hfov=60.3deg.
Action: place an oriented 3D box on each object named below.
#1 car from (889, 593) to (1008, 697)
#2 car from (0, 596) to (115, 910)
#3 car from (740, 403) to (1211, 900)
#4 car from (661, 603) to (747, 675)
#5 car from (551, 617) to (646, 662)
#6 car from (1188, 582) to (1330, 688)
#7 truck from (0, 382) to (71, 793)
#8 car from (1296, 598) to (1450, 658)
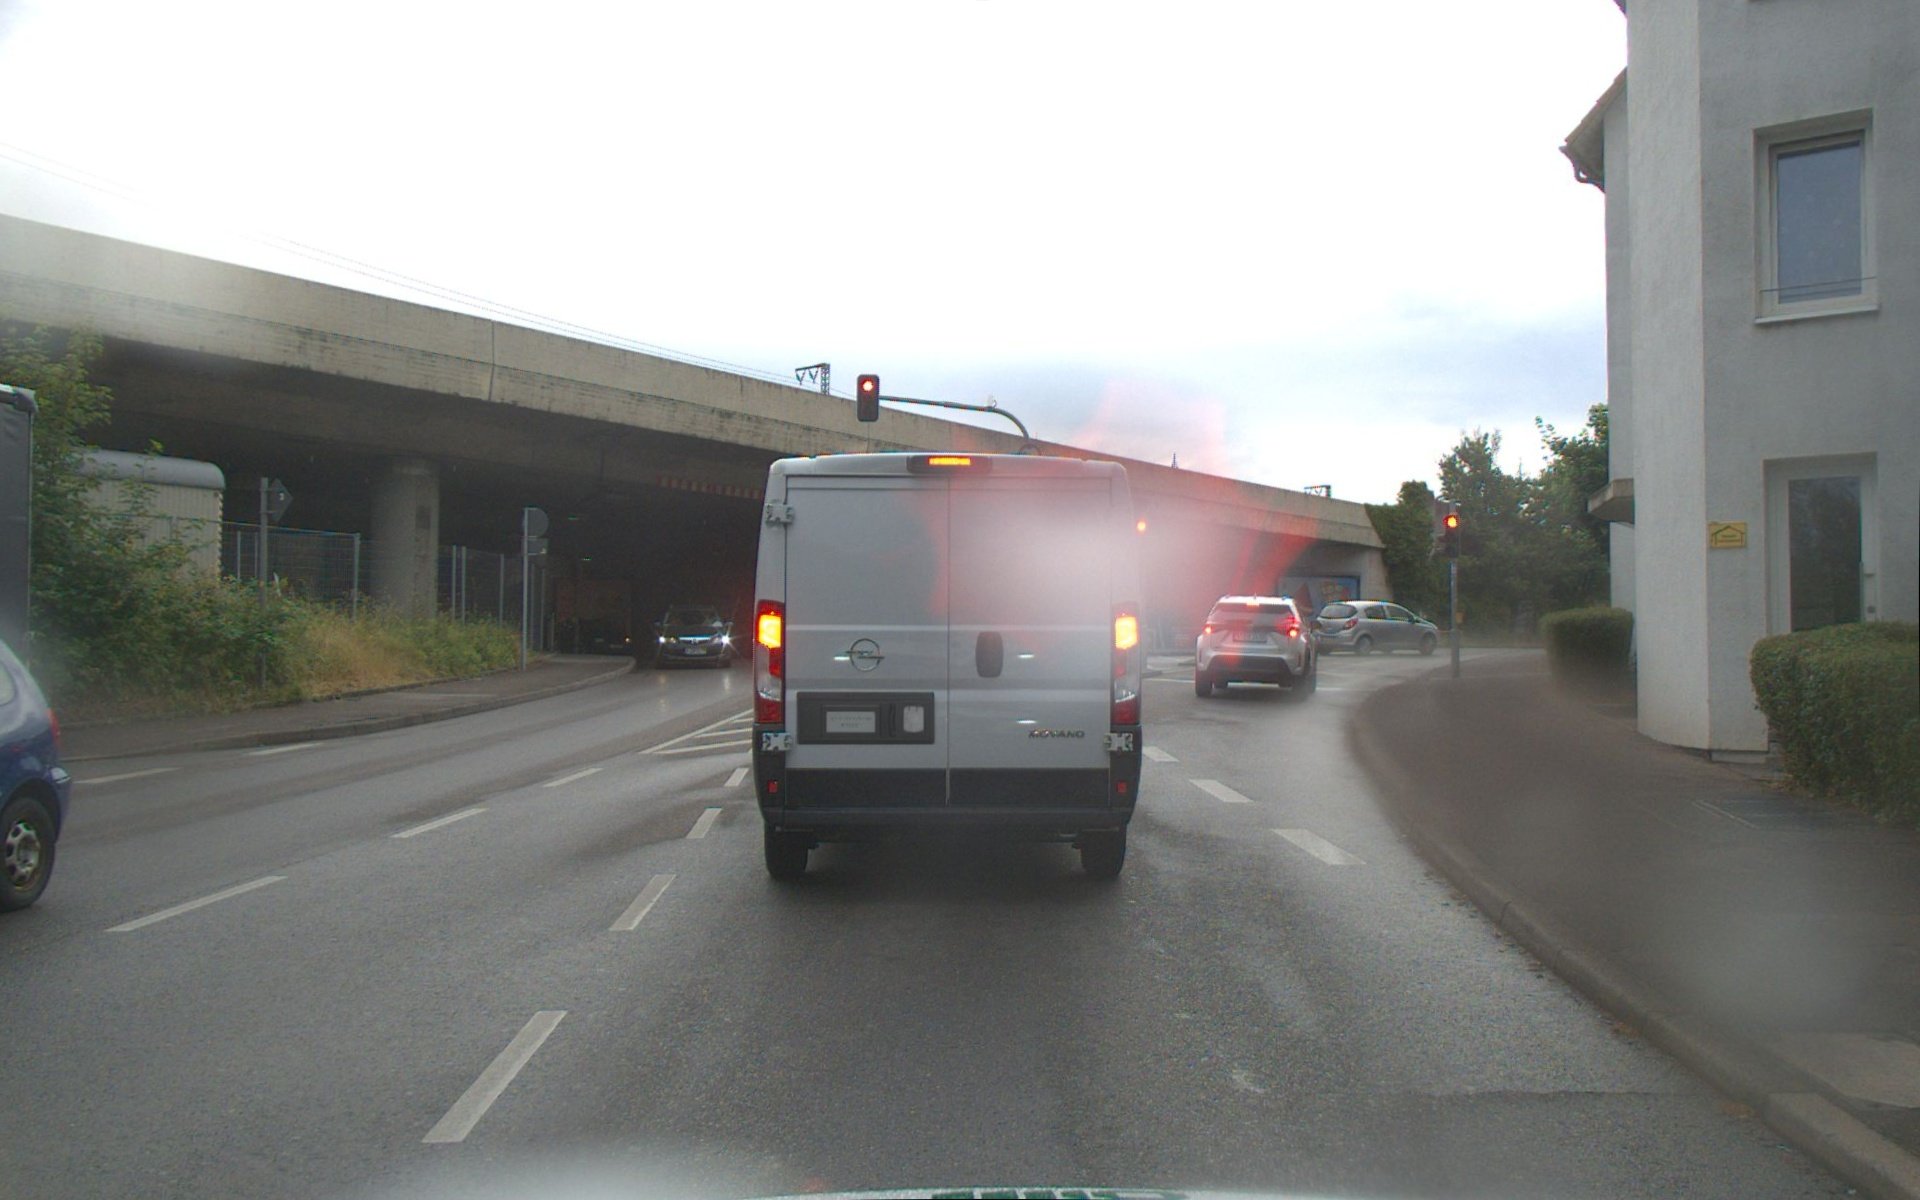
[{"bbox_3d":[-0.145,0.811,30.179,1.952,1.759,4.001,0,-1,3],"label":"car"},{"bbox_3d":[-5.240,0.704,6.777,1.564,1.450,3.698,0,0,2],"label":"car"},{"bbox_3d":[0.072,0.234,10.761,2.258,2.384,5.282,-1,0,0],"label":"car"},{"bbox_3d":[-5.988,0.873,39.119,1.806,1.597,4.406,0,0,-6],"label":"car"},{"bbox_3d":[-12.898,1.413,58.892,1.977,1.545,3.951,1,-2,-35],"label":"car"},{"bbox_3d":[4.914,0.572,26.760,1.951,1.576,4.002,0,-1,15],"label":"car"},{"bbox_3d":[-9.051,-0.137,10.370,2.556,3.294,7.777,0,-1,1],"label":"truck"},{"bbox_3d":[11.443,0.787,45.824,3.947,1.581,1.978,1,-2,-32],"label":"car"}]
